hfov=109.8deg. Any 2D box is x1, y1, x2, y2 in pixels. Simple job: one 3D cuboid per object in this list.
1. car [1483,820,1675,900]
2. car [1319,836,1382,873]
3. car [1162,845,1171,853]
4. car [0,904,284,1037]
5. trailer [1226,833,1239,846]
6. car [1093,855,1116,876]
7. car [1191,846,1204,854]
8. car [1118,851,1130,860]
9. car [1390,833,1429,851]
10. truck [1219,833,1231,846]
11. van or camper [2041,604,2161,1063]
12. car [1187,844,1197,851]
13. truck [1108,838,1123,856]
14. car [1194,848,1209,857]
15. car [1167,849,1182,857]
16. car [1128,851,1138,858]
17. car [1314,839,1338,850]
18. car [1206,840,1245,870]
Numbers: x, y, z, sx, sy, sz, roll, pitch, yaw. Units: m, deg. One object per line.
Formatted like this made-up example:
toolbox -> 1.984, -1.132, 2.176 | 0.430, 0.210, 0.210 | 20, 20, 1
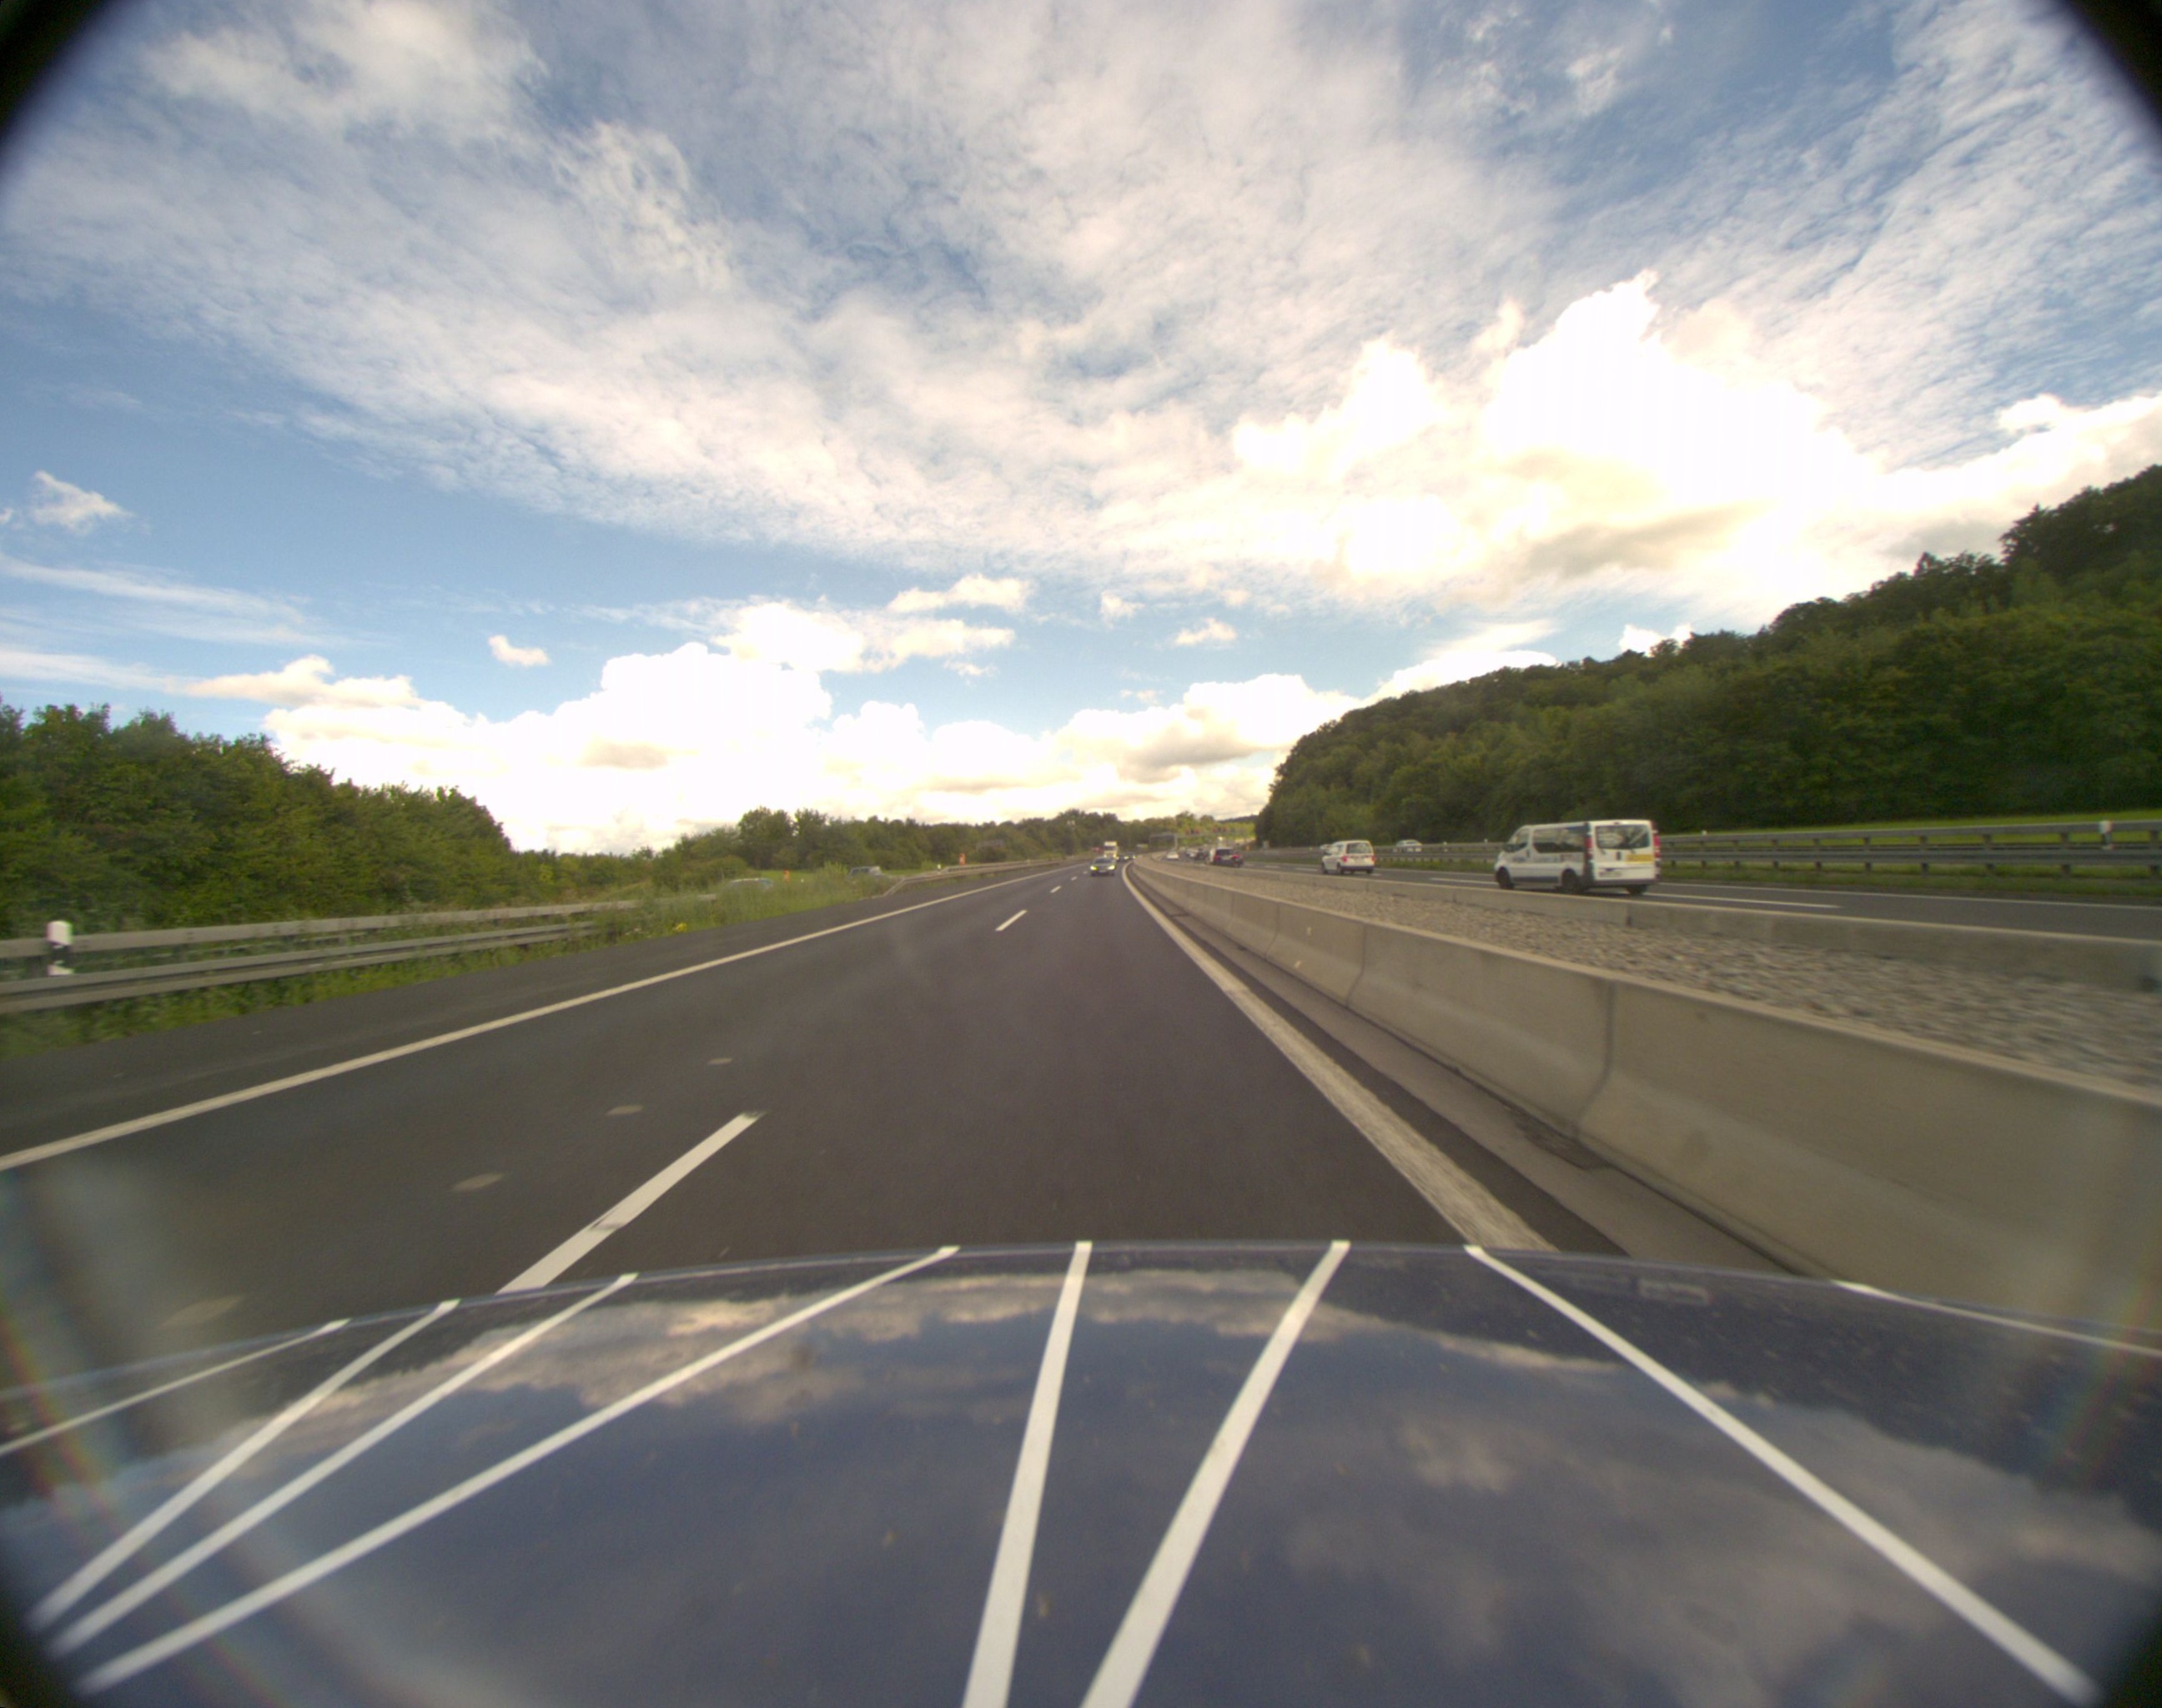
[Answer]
car -> 13.480, 0.144, 21.076 | 1.919, 1.895, 5.287 | -2, 0, 1
car -> 14.587, 0.030, 41.415 | 1.998, 1.804, 4.241 | -3, 0, 2
car -> 20.356, -1.269, 180.487 | 1.890, 1.774, 4.953 | -2, 0, 3
car -> -15.714, 1.758, 11.868 | 1.788, 1.562, 4.344 | -3, 0, 2
trailer -> 52.568, -5.104, 263.541 | 3.328, 4.268, 12.143 | -2, 2, 7
car -> 1.863, 0.876, 59.817 | 1.662, 1.464, 4.000 | -3, 1, 3
car -> 22.330, -0.735, 145.838 | 1.890, 1.421, 4.579 | -2, 0, 3
car -> 7.636, 0.250, 134.434 | 1.998, 1.464, 4.001 | -3, 0, 5
car -> 33.820, -1.185, 78.428 | 1.940, 1.662, 5.225 | -3, 0, 3
truck -> 47.746, -4.833, 252.219 | 2.908, 3.946, 10.465 | -2, 2, 6
van or camper -> 8.431, -0.191, 1.609 | 3.343, 2.899, 7.466 | -3, 0, 1
car -> 25.874, -1.500, 177.347 | 1.890, 1.600, 4.967 | -2, 0, 3
truck -> 7.715, -1.594, 167.509 | 2.795, 3.563, 11.458 | -2, 2, 5
car -> 19.225, -0.293, 120.999 | 1.873, 1.329, 4.229 | -2, 0, 3
car -> 16.107, -0.193, 130.746 | 2.050, 1.329, 5.608 | -2, 0, 3
car -> 11.338, 0.146, 166.148 | 1.998, 1.464, 4.001 | -3, 0, 3
car -> 34.677, -1.308, 107.487 | 1.787, 1.423, 4.624 | -3, 0, 0
car -> 10.227, 0.044, 54.250 | 1.998, 1.909, 5.150 | -3, 0, 3
